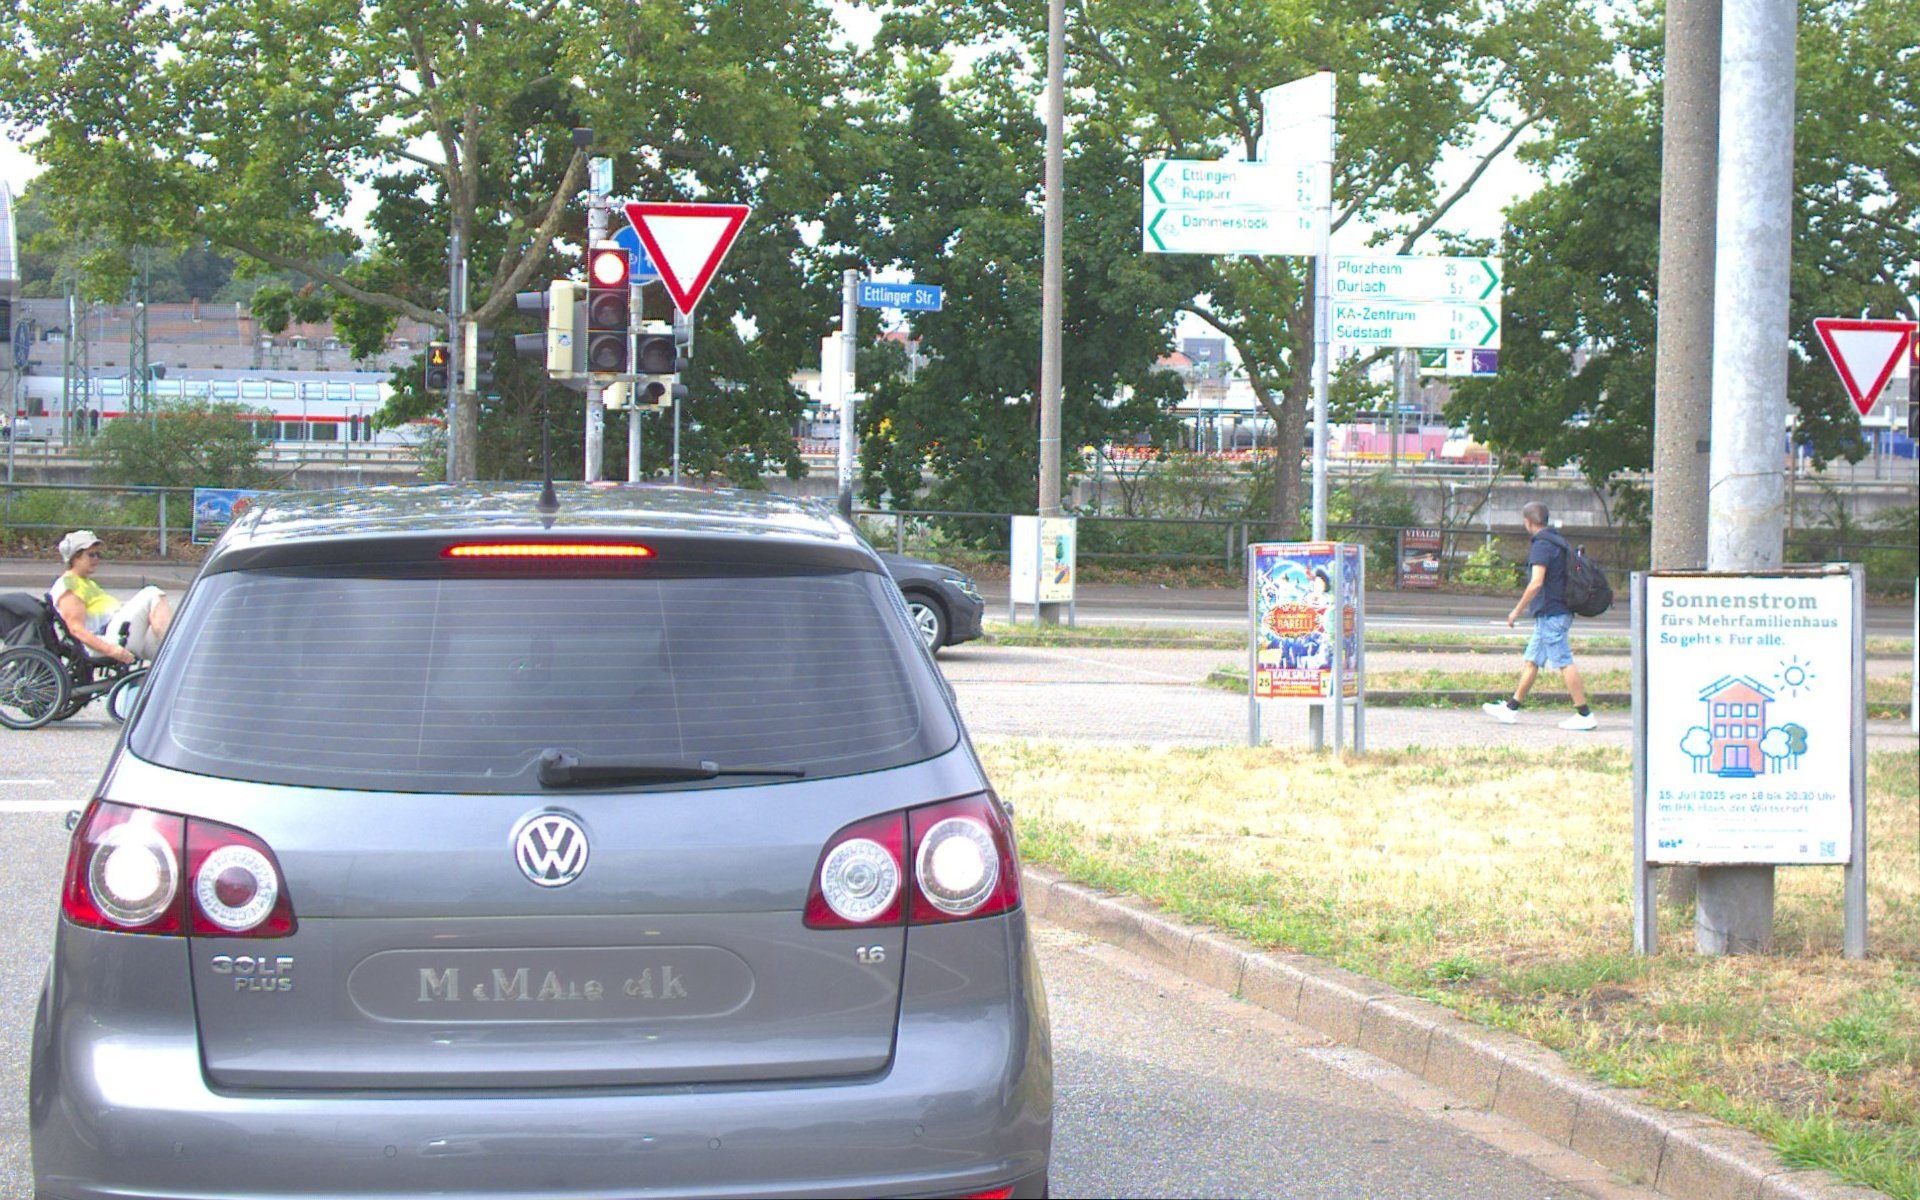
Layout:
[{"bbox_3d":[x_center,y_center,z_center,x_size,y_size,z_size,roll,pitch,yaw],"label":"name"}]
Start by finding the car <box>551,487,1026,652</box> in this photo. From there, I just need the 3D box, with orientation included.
[{"bbox_3d":[-1.597,-0.286,31.738,4.056,1.445,1.703,0,2,-19],"label":"car"}]

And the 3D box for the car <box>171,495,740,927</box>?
[{"bbox_3d":[-2.191,0.333,13.946,1.740,1.477,4.083,0,1,-16],"label":"car"}]

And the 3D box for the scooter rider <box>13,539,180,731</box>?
[{"bbox_3d":[-5.285,0.205,21.087,0.913,1.133,0.809,1,2,-9],"label":"scooter rider"}]

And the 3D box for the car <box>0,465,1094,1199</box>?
[{"bbox_3d":[-0.959,0.527,7.230,1.740,1.541,4.083,1,1,-8],"label":"car"}]

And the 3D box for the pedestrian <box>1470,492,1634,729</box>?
[{"bbox_3d":[4.432,0.065,25.695,1.048,1.704,0.853,2,2,17],"label":"pedestrian"}]

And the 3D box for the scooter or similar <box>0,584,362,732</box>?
[{"bbox_3d":[-4.897,0.350,21.143,2.378,0.846,0.809,1,2,-9],"label":"scooter or similar"}]
